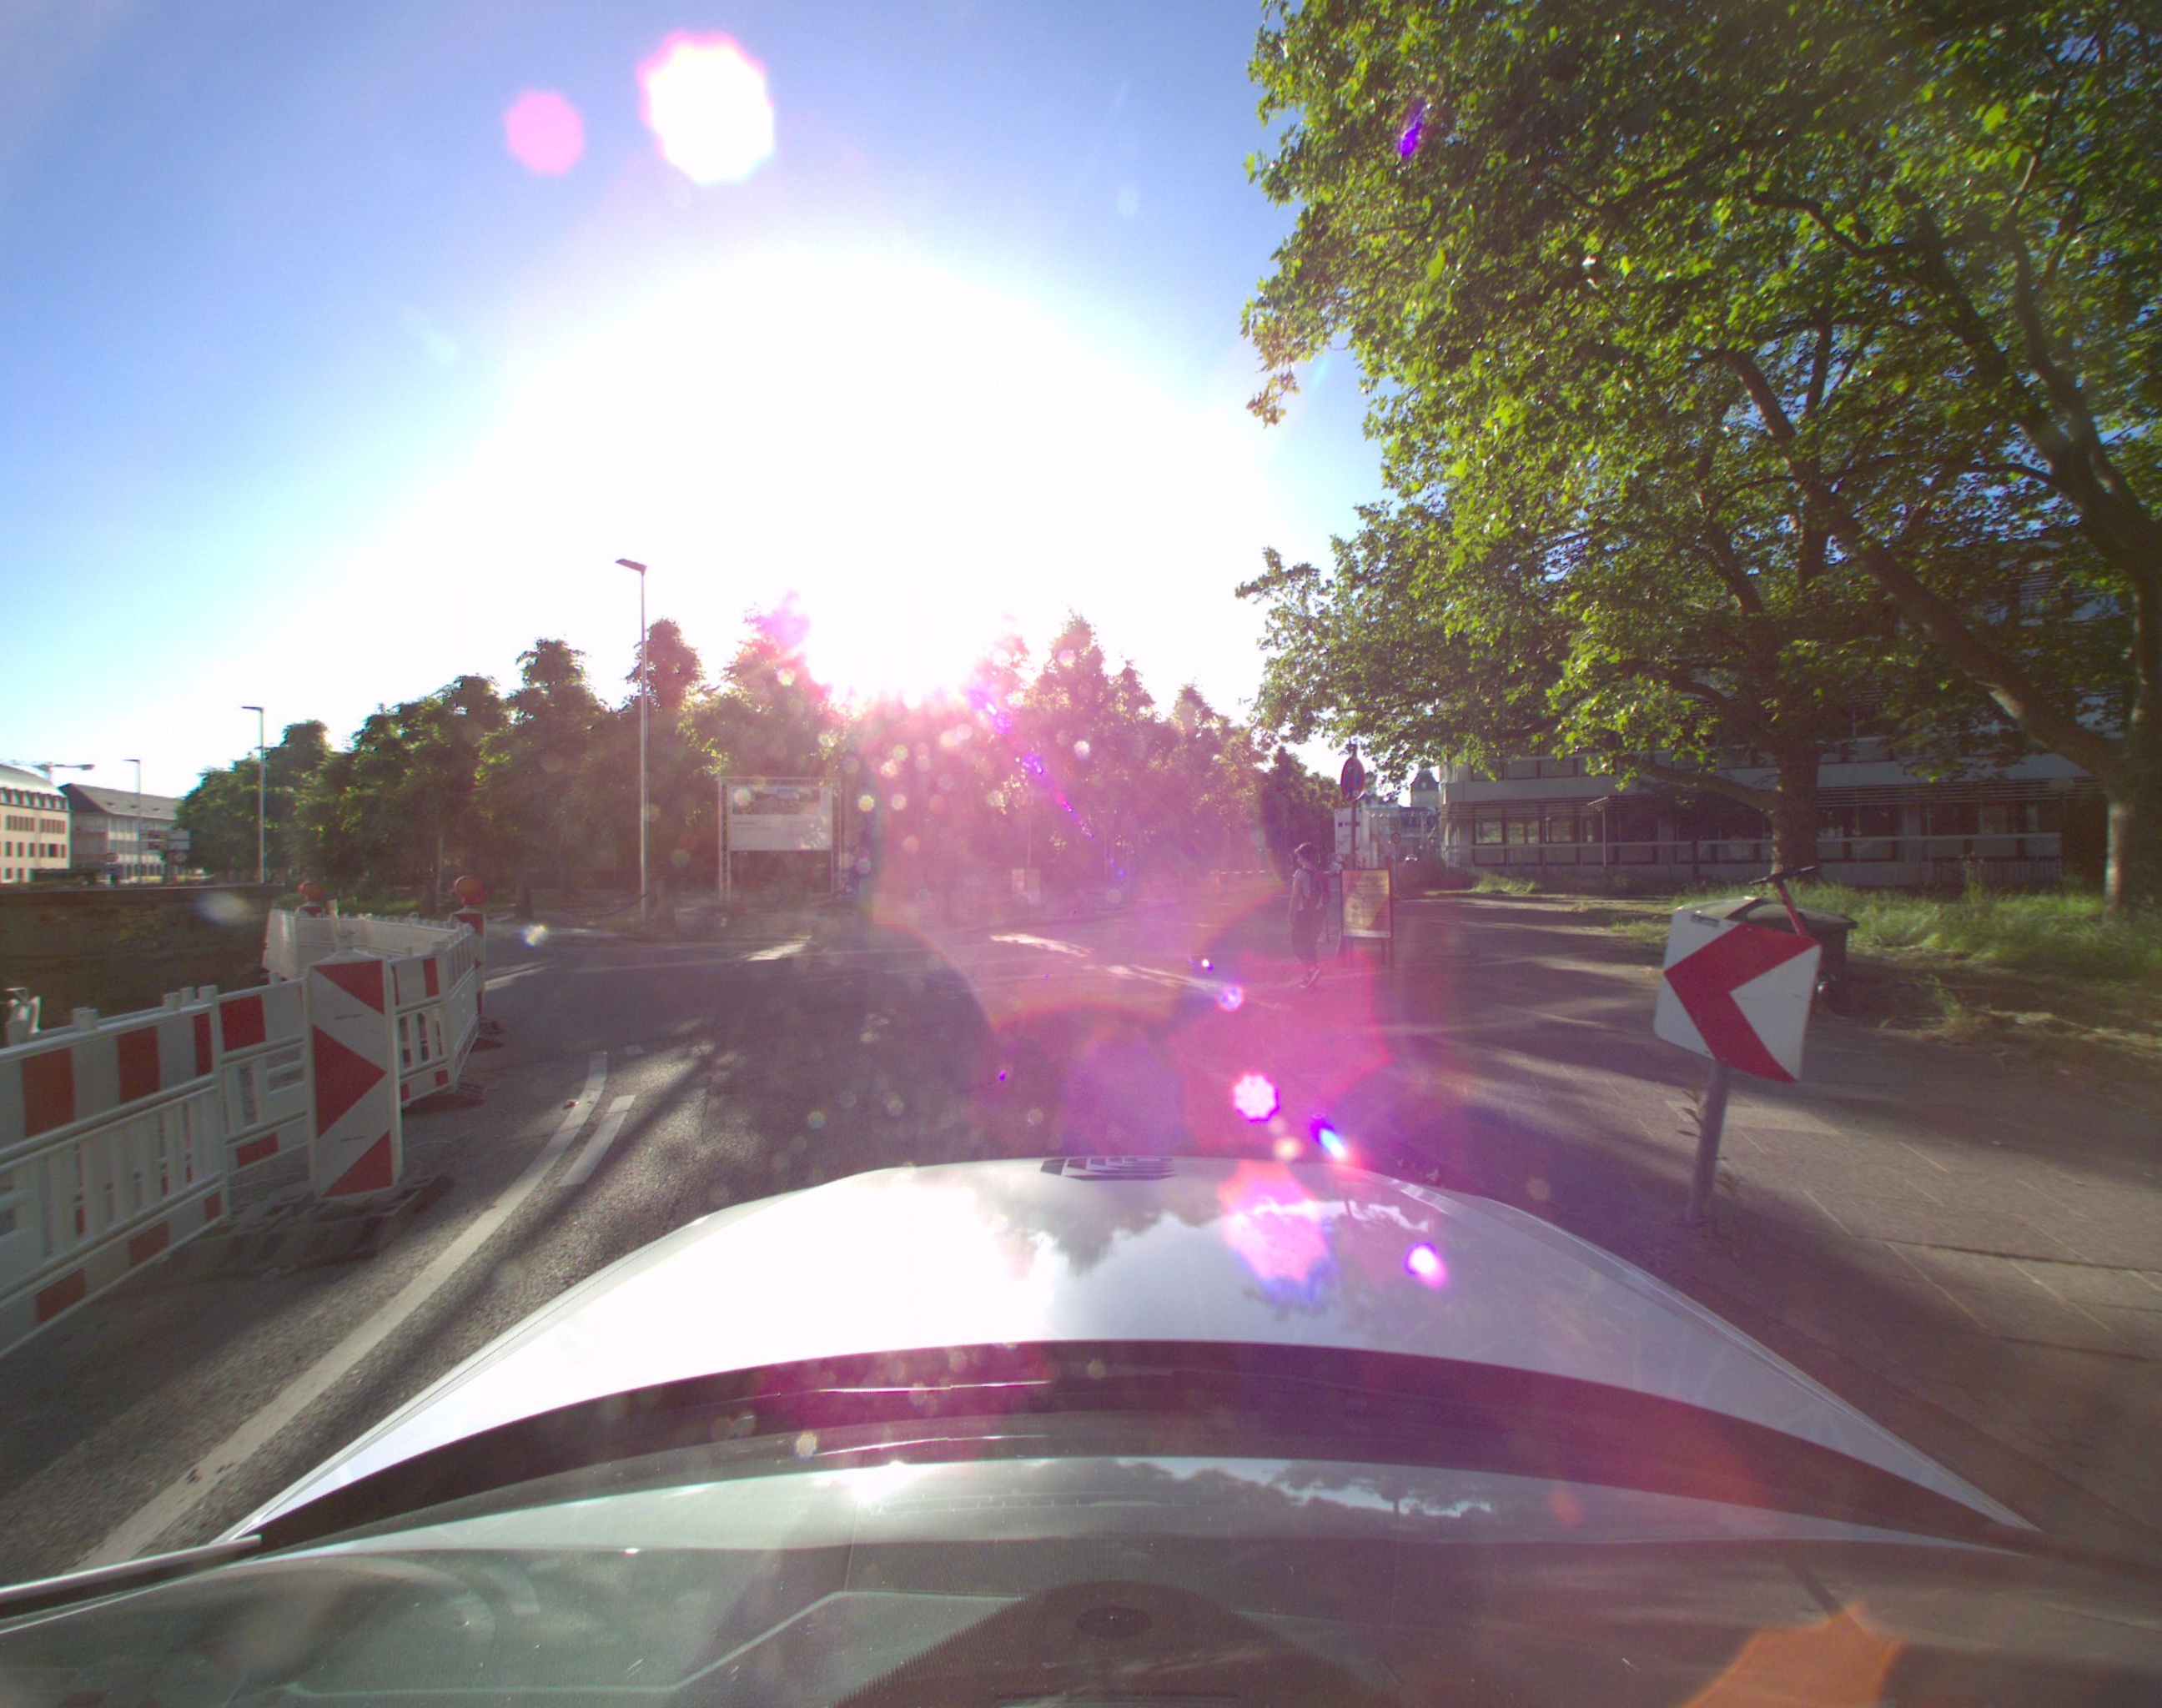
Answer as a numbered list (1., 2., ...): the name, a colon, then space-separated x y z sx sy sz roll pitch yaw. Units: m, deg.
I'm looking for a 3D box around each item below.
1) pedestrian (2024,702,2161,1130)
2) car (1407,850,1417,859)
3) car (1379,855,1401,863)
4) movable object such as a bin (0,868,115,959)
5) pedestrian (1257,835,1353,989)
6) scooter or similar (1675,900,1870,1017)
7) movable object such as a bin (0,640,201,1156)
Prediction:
1. pedestrian: 4.944 0.262 3.393 0.742 1.813 1.134 0 0 2
2. car: 54.572 0.119 134.284 1.441 1.499 4.022 -2 -1 23
3. car: 69.718 1.029 183.788 4.517 1.790 2.011 0 0 22
4. movable object such as a bin: -25.160 1.353 19.704 4.278 1.949 2.070 0 0 37
5. pedestrian: 2.500 0.619 9.164 0.708 1.623 0.936 -1 -1 -8
6. scooter or similar: 5.772 0.874 6.851 1.138 0.914 0.421 -3 -2 16
7. movable object such as a bin: -7.133 0.254 3.279 2.569 3.031 5.887 -2 -1 -22
